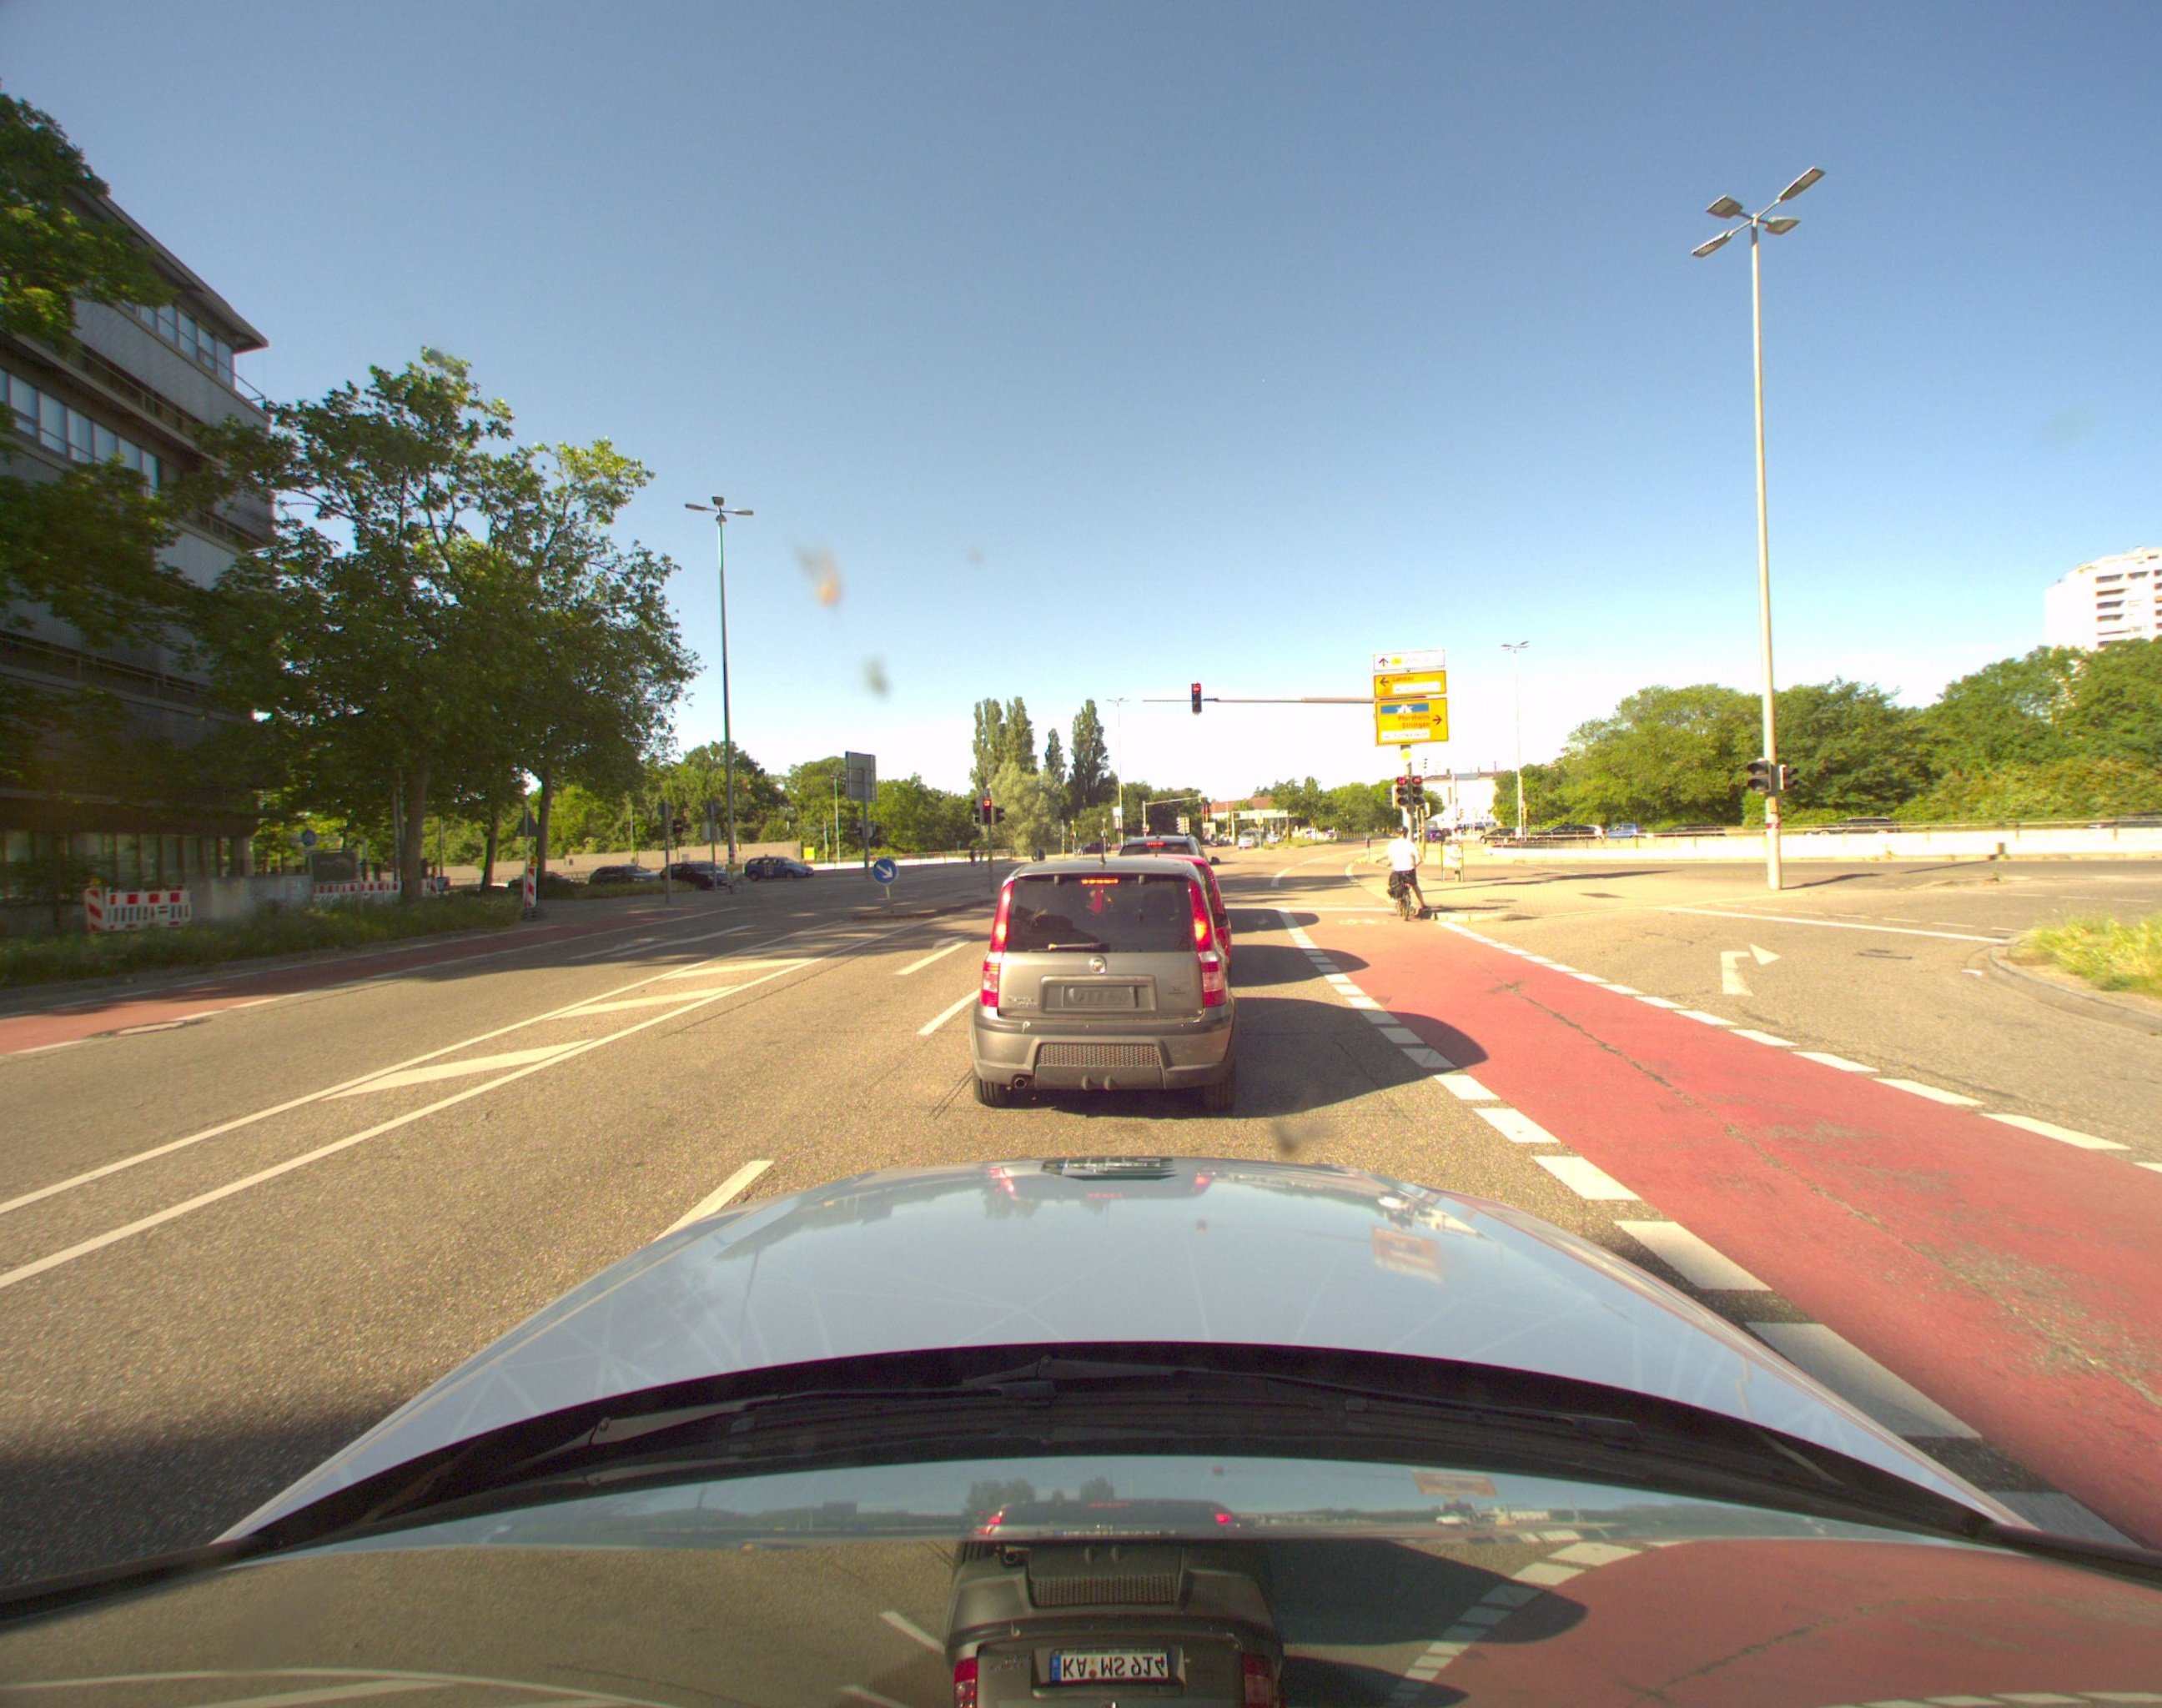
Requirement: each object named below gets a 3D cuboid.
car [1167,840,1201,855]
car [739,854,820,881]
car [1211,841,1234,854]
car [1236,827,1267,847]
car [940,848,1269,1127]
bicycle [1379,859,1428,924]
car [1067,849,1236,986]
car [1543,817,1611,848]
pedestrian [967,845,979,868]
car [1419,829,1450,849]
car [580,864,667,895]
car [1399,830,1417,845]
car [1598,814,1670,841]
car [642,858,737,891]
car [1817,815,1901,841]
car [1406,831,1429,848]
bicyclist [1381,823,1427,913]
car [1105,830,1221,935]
[{"bbox_3d":[13.804,-0.880,109.041,1.993,1.855,4.916,-3,-2,41],"label":"car"},{"bbox_3d":[-18.834,0.831,50.898,4.402,1.438,1.834,-2,0,16],"label":"car"},{"bbox_3d":[21.218,-0.934,121.710,1.994,1.855,4.914,-2,-2,26],"label":"car"},{"bbox_3d":[18.137,-1.733,86.466,1.994,1.855,4.914,-2,-2,26],"label":"car"},{"bbox_3d":[0.311,0.709,6.482,1.811,1.489,4.006,0,1,5],"label":"car"},{"bbox_3d":[6.353,0.684,15.973,0.792,1.110,2.415,-1,1,23],"label":"bicycle"},{"bbox_3d":[0.924,0.685,10.828,1.811,1.479,4.005,0,0,5],"label":"car"},{"bbox_3d":[36.391,-1.553,59.746,3.948,2.014,2.012,-3,-2,40],"label":"car"},{"bbox_3d":[-7.983,0.184,59.994,0.684,1.539,1.365,-1,-5,0],"label":"pedestrian"},{"bbox_3d":[37.551,-1.556,86.518,2.000,1.855,4.901,-1,-2,11],"label":"car"},{"bbox_3d":[-24.959,1.394,44.429,4.396,1.438,1.836,-2,1,24],"label":"car"},{"bbox_3d":[44.389,-2.191,110.344,1.975,1.750,4.023,-2,-2,25],"label":"car"},{"bbox_3d":[43.215,-2.050,63.737,2.030,1.855,4.210,0,-2,-40],"label":"car"},{"bbox_3d":[-19.642,1.043,40.871,4.396,1.438,1.836,-2,1,24],"label":"car"},{"bbox_3d":[52.435,-1.751,54.981,3.949,1.618,1.739,-1,1,40],"label":"car"},{"bbox_3d":[39.229,-1.711,94.986,1.979,1.750,4.015,-2,-2,14],"label":"car"},{"bbox_3d":[6.381,0.250,16.047,0.792,1.705,1.091,-1,1,23],"label":"bicyclist"},{"bbox_3d":[1.770,0.446,16.191,1.857,1.790,4.428,0,1,11],"label":"car"}]
